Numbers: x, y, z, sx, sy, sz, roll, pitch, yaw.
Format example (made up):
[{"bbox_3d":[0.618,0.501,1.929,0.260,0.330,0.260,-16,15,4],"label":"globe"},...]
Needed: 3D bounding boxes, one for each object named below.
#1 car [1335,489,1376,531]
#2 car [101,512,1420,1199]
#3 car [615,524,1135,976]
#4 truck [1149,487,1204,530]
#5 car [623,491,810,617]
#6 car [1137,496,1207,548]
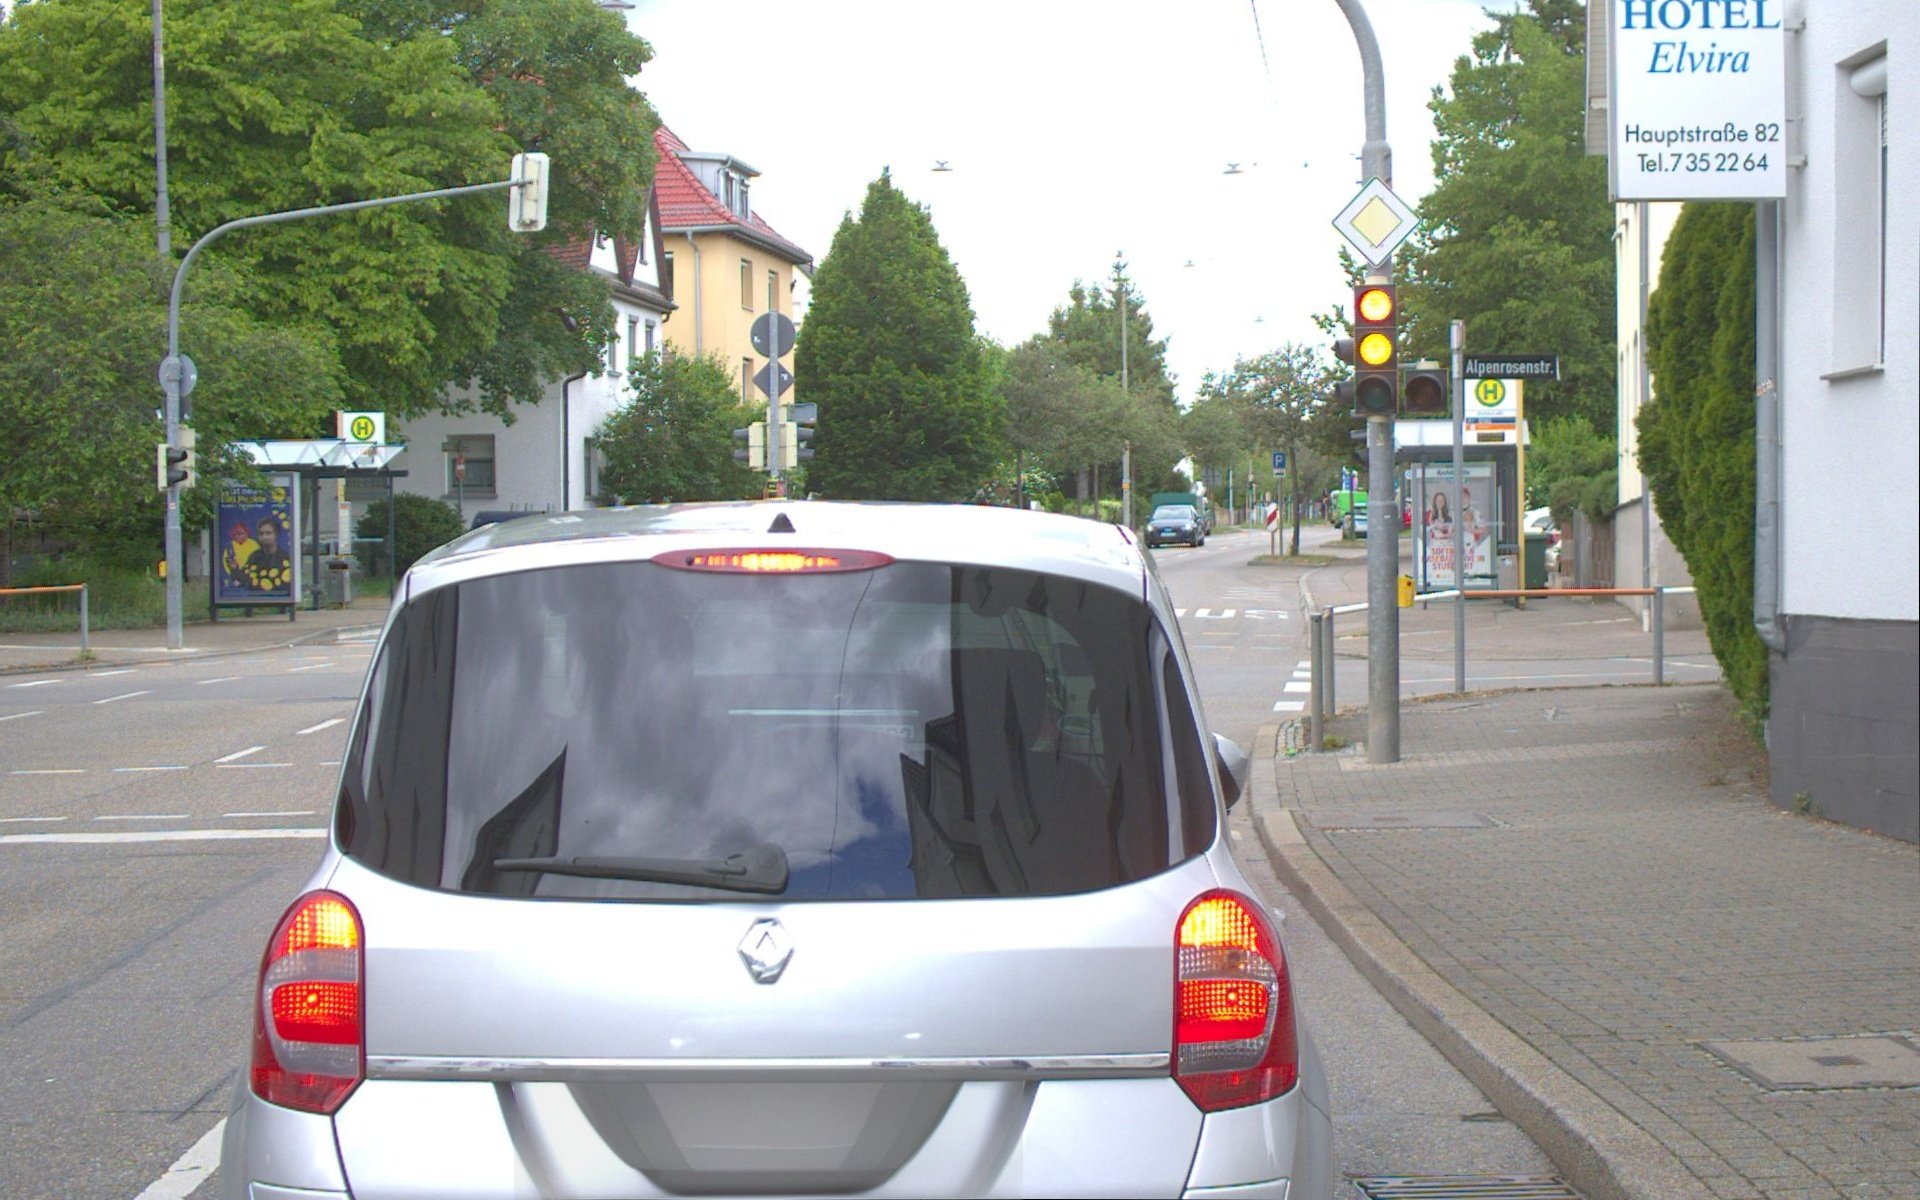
[{"bbox_3d":[24.639,-5.586,214.261,2.060,2.503,5.593,1,1,11],"label":"car"},{"bbox_3d":[-0.303,0.621,6.597,1.755,1.525,4.000,0,1,-1],"label":"car"},{"bbox_3d":[-0.322,0.480,13.567,1.755,1.525,3.797,0,1,-1],"label":"car"},{"bbox_3d":[10.501,-4.427,166.502,2.102,2.007,5.745,1,1,9],"label":"truck"},{"bbox_3d":[-3.785,-0.745,54.189,1.927,1.767,3.999,-4,1,10],"label":"car"},{"bbox_3d":[7.313,-2.679,118.182,1.858,1.742,3.998,1,1,11],"label":"car"}]
